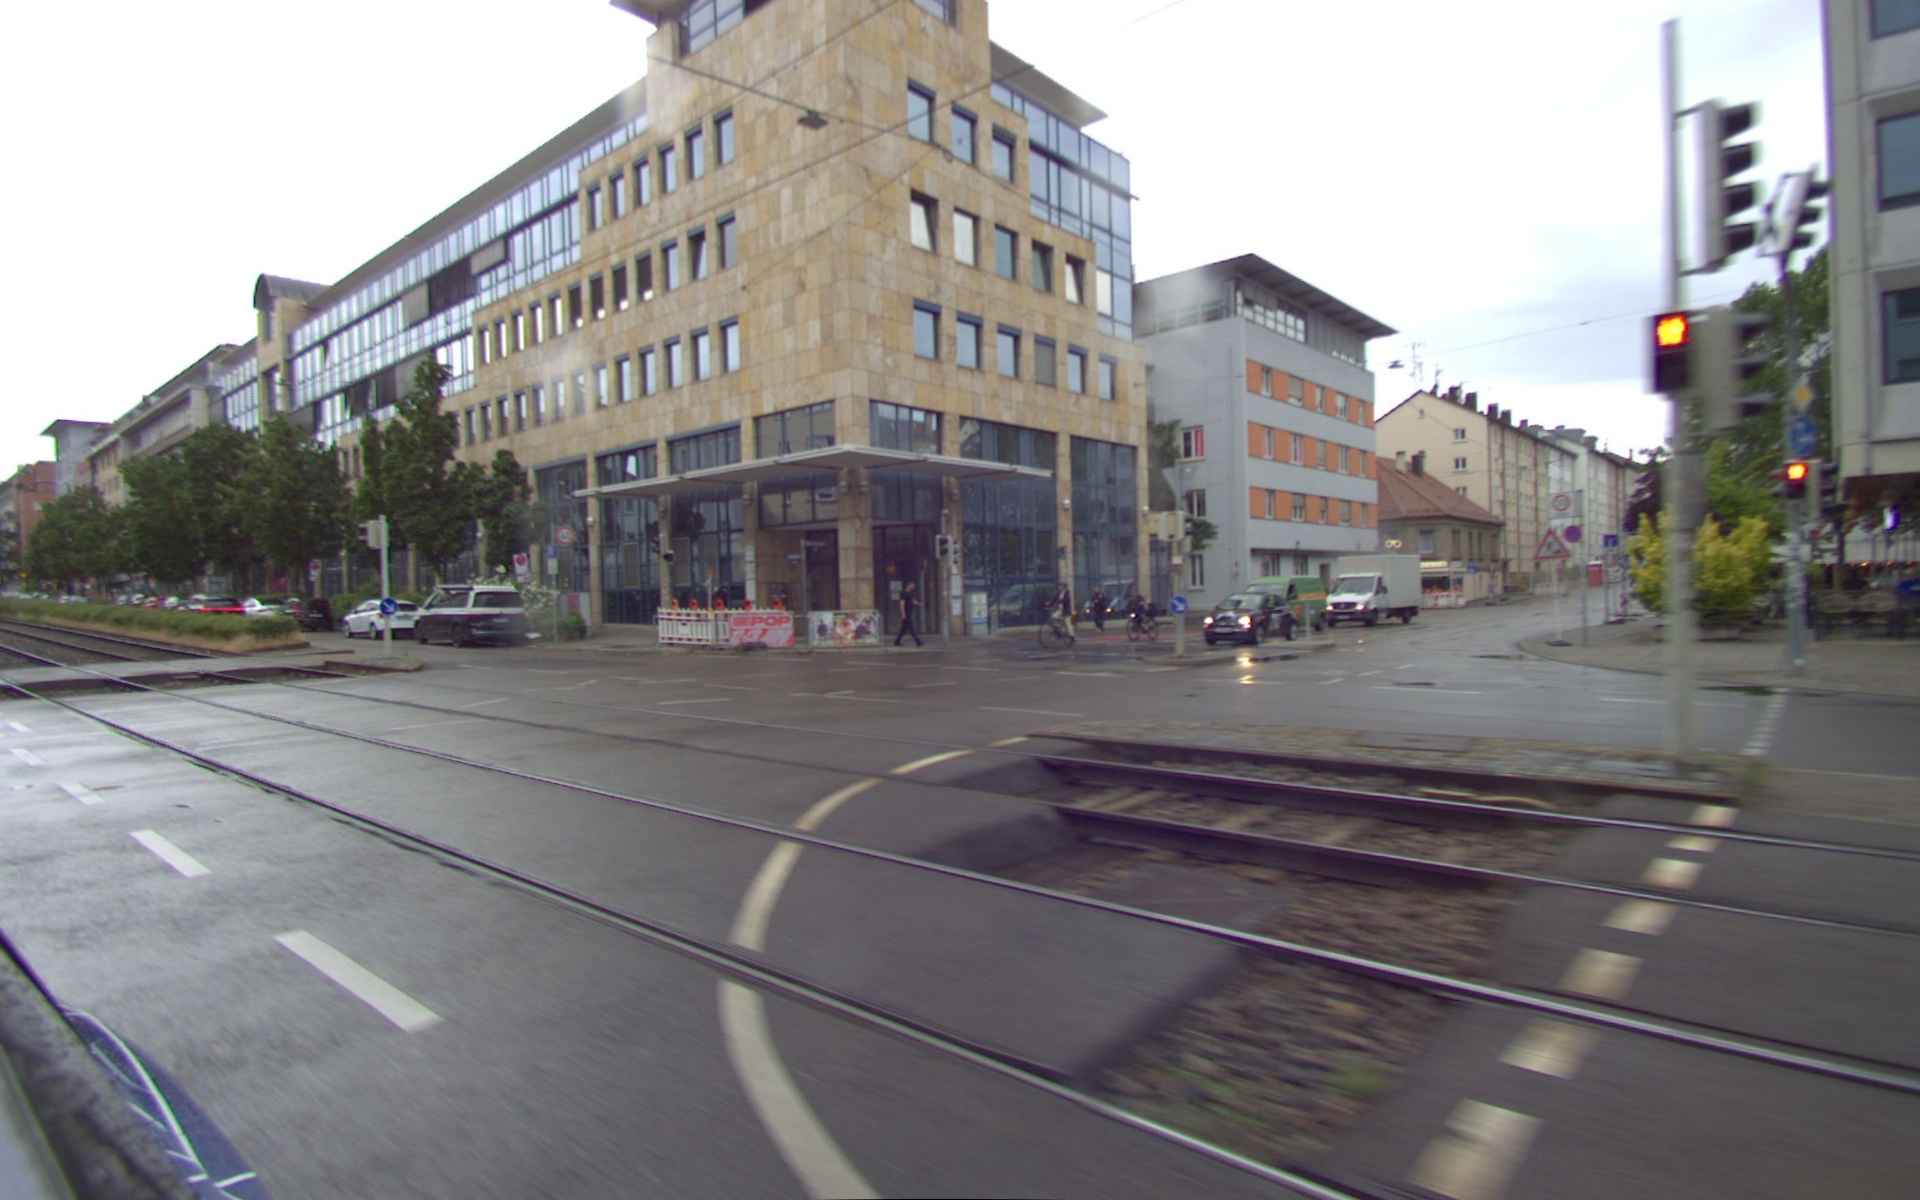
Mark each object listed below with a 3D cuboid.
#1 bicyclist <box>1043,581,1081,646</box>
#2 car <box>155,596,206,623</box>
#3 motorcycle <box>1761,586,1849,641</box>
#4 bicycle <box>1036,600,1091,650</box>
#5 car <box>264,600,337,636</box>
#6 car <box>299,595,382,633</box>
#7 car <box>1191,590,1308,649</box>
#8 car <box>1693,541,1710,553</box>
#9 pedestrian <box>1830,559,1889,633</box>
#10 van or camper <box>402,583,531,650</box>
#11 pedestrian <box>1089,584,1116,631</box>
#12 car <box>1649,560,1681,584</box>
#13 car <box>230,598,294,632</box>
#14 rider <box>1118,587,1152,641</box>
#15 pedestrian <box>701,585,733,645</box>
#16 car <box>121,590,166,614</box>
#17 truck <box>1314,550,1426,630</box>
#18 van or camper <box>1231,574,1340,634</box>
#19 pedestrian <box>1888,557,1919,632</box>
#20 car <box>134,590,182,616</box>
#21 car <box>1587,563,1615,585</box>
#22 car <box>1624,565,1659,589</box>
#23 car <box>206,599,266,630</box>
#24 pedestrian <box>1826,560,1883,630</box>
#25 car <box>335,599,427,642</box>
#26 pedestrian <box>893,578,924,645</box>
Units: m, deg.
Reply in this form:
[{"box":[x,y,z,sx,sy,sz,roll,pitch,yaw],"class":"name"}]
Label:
[{"box":[2.903,0.385,28.850,0.783,1.818,0.701,-1,1,41],"class":"bicyclist"},{"box":[-46.390,0.542,60.189,4.621,1.552,1.632,0,1,42],"class":"car"},{"box":[27.636,0.424,33.120,0.866,1.731,2.083,0,0,-39],"class":"motorcycle"},{"box":[2.963,0.699,28.929,0.659,1.320,1.746,-1,1,40],"class":"bicycle"},{"box":[-29.558,0.804,45.316,3.997,1.497,1.672,-1,1,40],"class":"car"},{"box":[-26.041,0.580,42.482,4.292,1.497,1.672,-1,1,40],"class":"car"},{"box":[8.432,0.517,29.305,1.889,1.541,3.948,-1,1,39],"class":"car"},{"box":[134.085,-9.545,182.984,2.001,2.029,3.942,1,1,44],"class":"car"},{"box":[19.146,-0.090,21.559,0.896,1.544,0.952,-1,1,41],"class":"pedestrian"},{"box":[-16.315,0.470,33.330,5.196,2.012,1.996,1,2,42],"class":"van or camper"},{"box":[5.102,0.257,36.248,0.703,1.648,0.573,-1,1,42],"class":"pedestrian"},{"box":[57.783,-2.327,82.920,1.780,1.884,3.970,-1,1,40],"class":"car"},{"box":[-33.504,0.682,48.529,4.191,1.509,1.632,0,1,42],"class":"car"},{"box":[5.598,0.440,32.418,0.783,1.688,0.701,-1,1,41],"class":"rider"},{"box":[-7.588,0.461,31.617,0.679,1.828,0.693,-1,1,44],"class":"pedestrian"},{"box":[-54.431,0.126,67.404,4.621,1.552,1.632,0,1,42],"class":"car"},{"box":[17.914,-0.474,43.969,2.459,3.187,7.077,-1,1,40],"class":"truck"},{"box":[12.236,0.090,37.867,2.095,2.077,5.031,-1,1,40],"class":"van or camper"},{"box":[19.874,-0.123,20.901,0.964,1.544,0.885,-1,1,40],"class":"pedestrian"},{"box":[-50.830,0.178,64.140,4.621,1.552,1.632,0,1,42],"class":"car"},{"box":[60.335,-2.478,95.259,1.655,2.029,3.437,-1,1,41],"class":"car"},{"box":[52.806,-1.771,78.389,1.780,1.747,4.110,-1,1,40],"class":"car"},{"box":[-37.377,0.715,52.206,4.292,1.509,1.632,0,1,42],"class":"car"},{"box":[20.064,-0.113,22.719,0.896,1.544,0.952,-1,1,40],"class":"pedestrian"},{"box":[-22.037,0.754,38.448,4.252,1.497,1.672,-1,1,40],"class":"car"},{"box":[-1.421,0.306,27.823,0.667,1.794,0.705,-1,0,-14],"class":"pedestrian"}]
